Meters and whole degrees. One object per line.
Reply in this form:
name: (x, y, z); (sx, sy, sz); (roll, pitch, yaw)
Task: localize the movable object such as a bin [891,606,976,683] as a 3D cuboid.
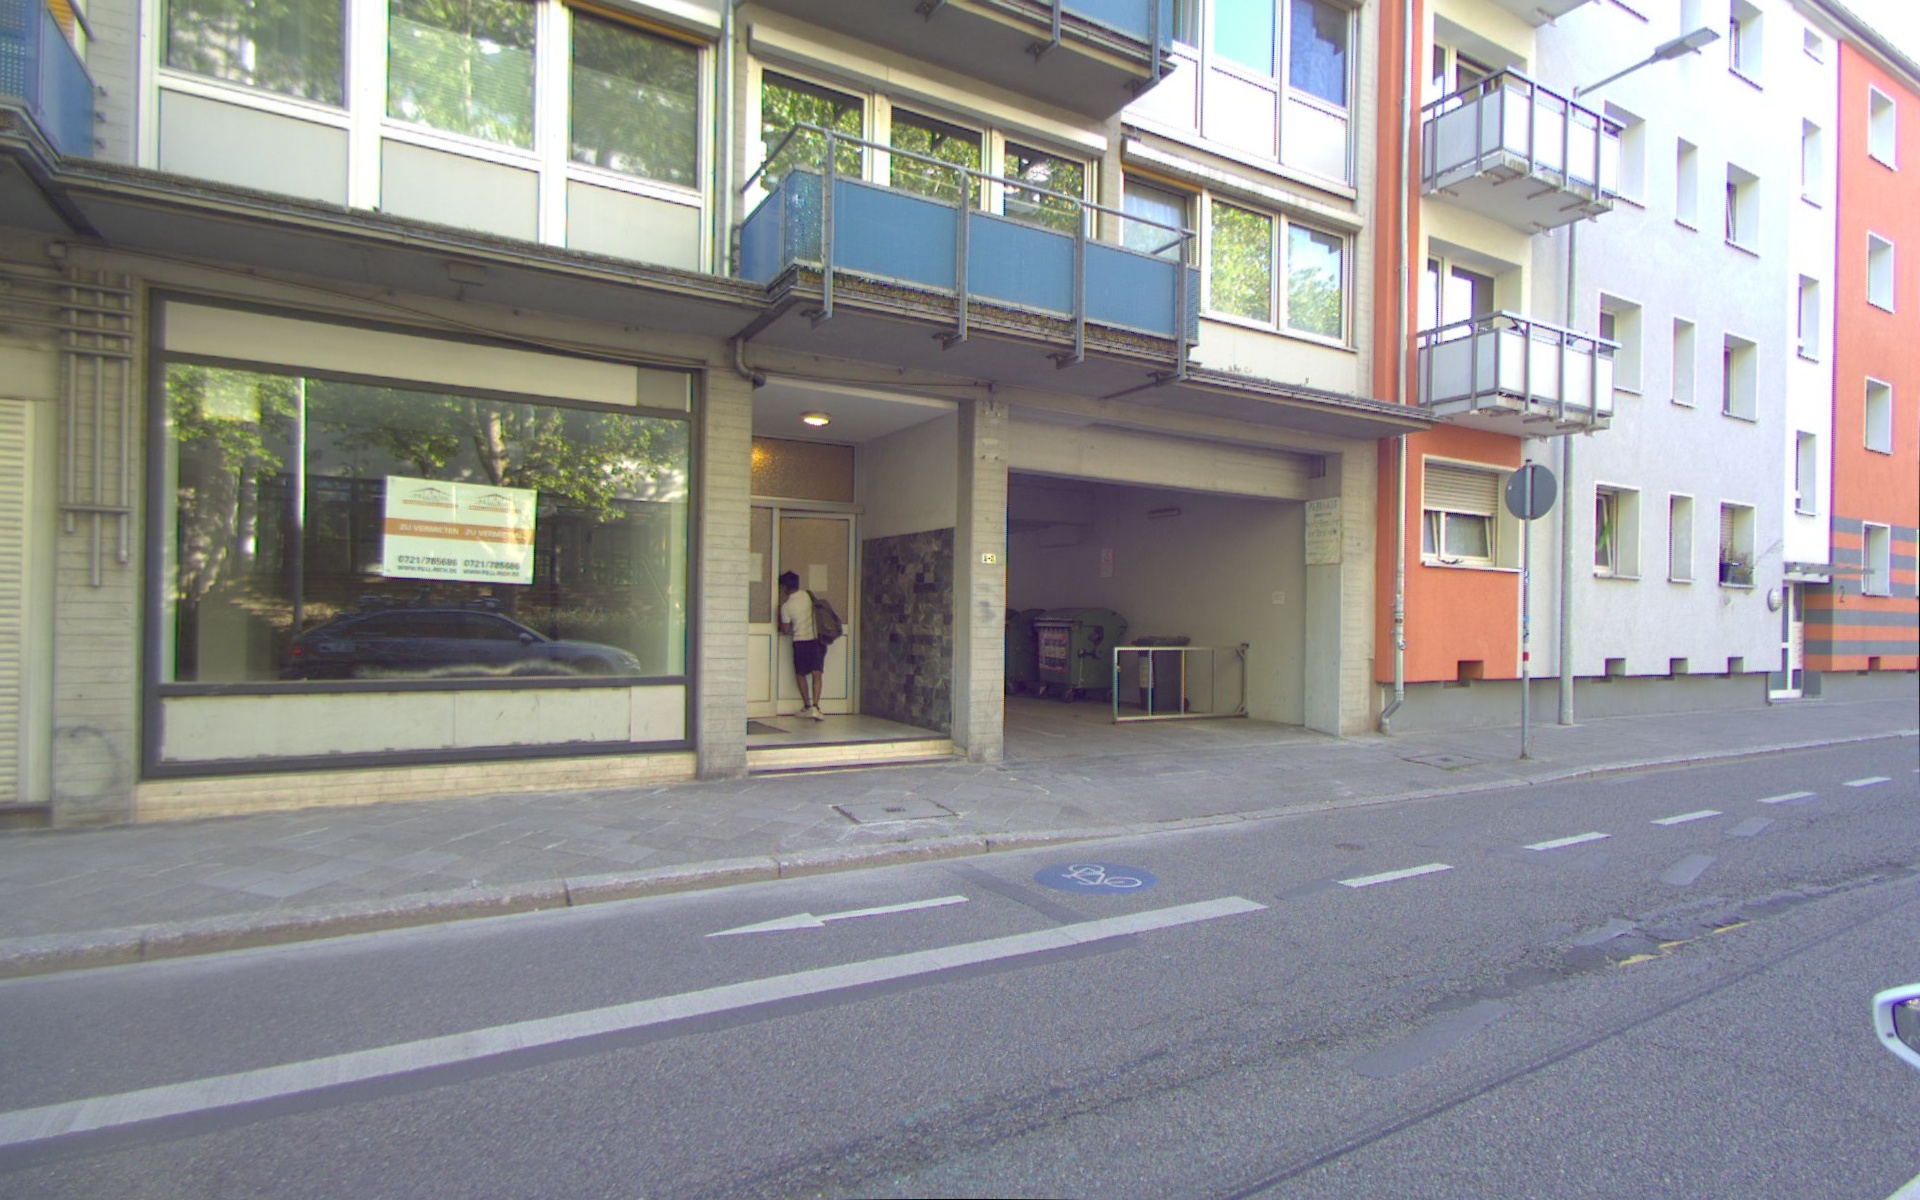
movable object such as a bin: (-0.534, 0.861, 19.936); (1.182, 1.452, 1.300); (2, 0, -30)

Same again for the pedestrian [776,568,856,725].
pedestrian: (-1.552, 0.480, 10.775); (0.558, 1.606, 0.919); (1, 0, -28)

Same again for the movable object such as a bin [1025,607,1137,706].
movable object such as a bin: (1.888, 0.869, 15.811); (1.182, 1.452, 1.300); (2, 0, -30)

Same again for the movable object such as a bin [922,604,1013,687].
movable object such as a bin: (0.134, 0.830, 18.772); (1.182, 1.452, 1.300); (2, 0, -30)

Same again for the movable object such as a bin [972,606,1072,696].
movable object such as a bin: (1.047, 0.850, 17.198); (1.182, 1.452, 1.300); (2, 0, -30)

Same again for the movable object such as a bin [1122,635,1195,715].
movable object such as a bin: (2.865, 1.062, 14.528); (0.707, 1.089, 0.735); (2, 0, -30)
